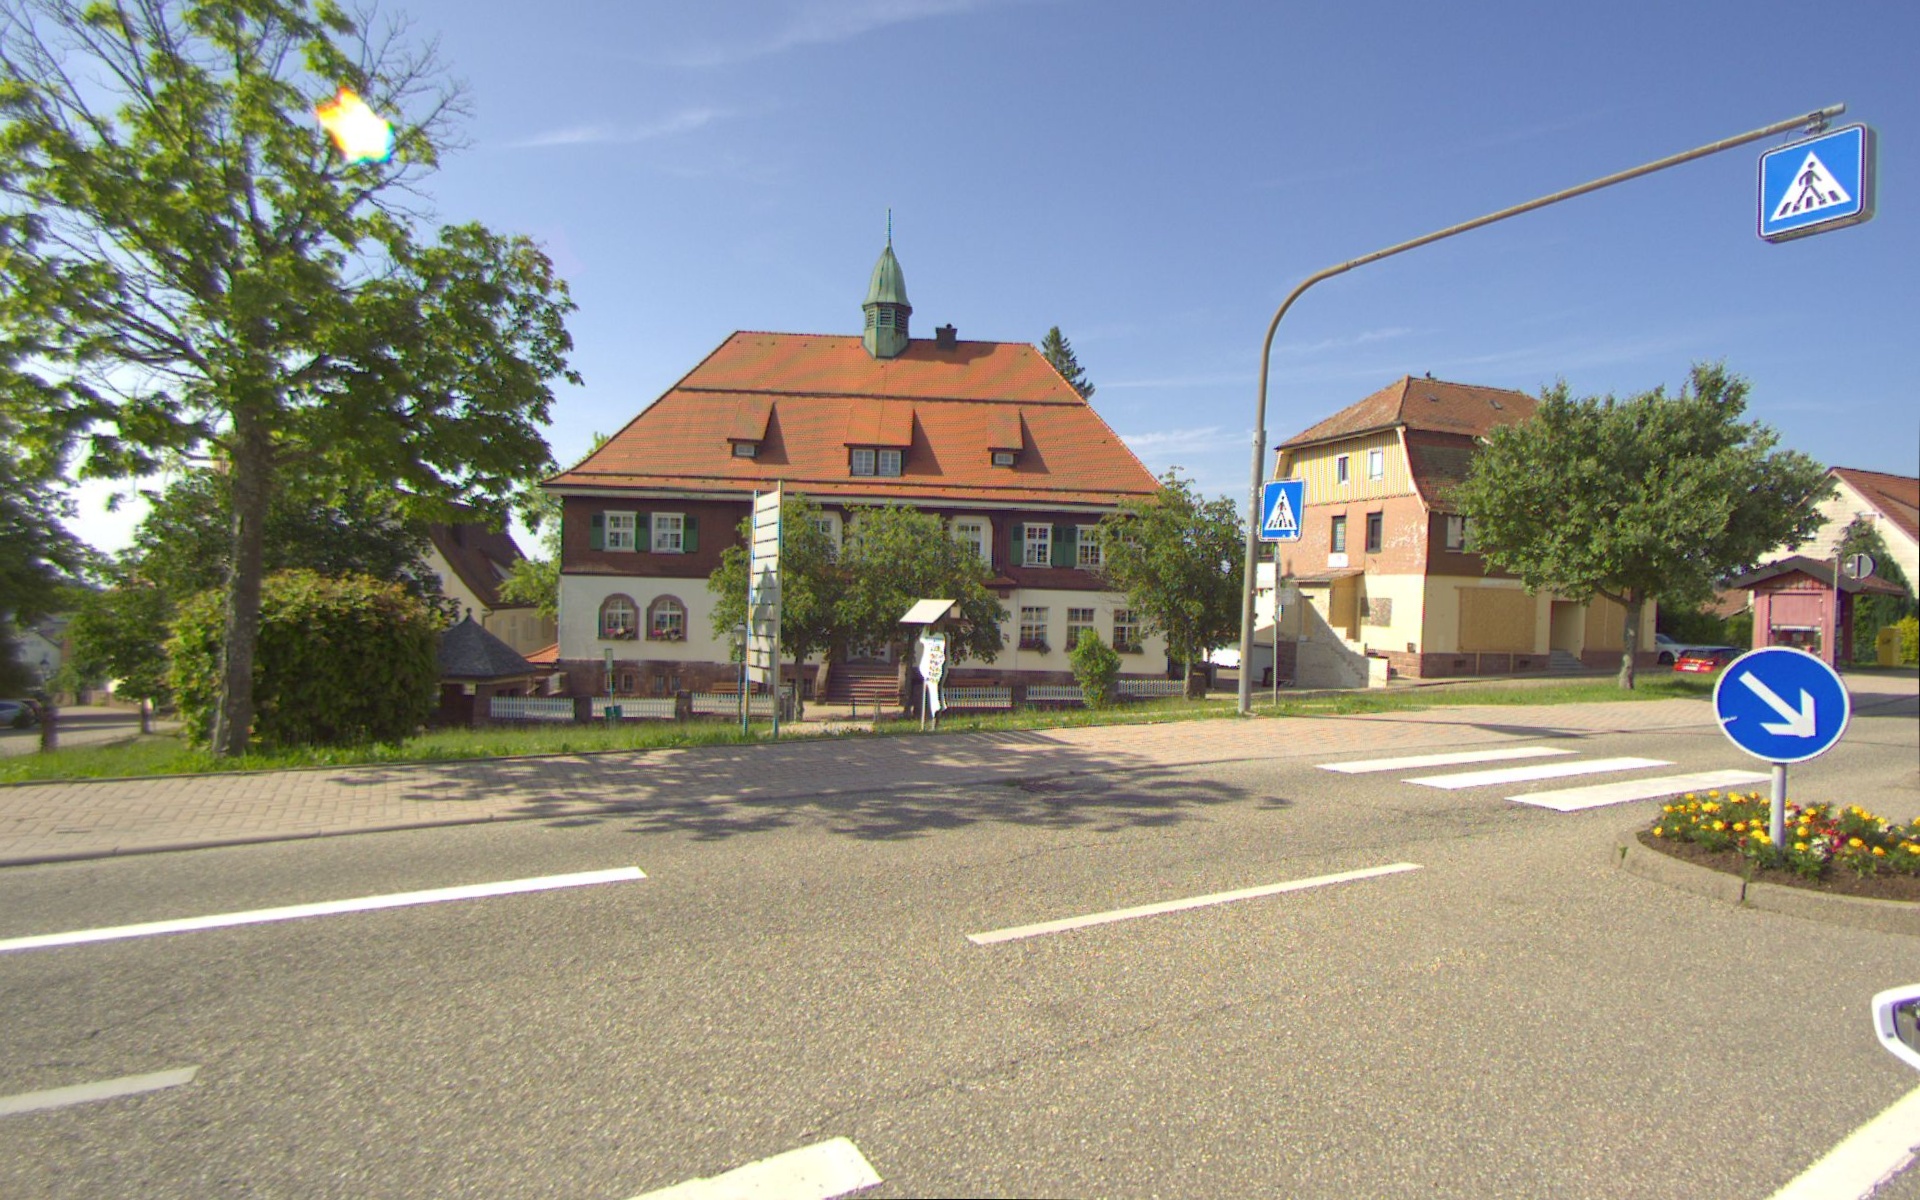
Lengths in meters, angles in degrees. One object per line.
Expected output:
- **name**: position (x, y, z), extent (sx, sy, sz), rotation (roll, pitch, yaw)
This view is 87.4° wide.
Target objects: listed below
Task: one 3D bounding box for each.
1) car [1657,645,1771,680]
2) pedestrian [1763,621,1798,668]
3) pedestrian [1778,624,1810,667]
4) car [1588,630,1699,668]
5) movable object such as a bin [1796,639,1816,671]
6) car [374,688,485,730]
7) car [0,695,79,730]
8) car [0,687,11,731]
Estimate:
- **car**: position (29.816, 2.457, 39.735), extent (3.938, 1.314, 1.719), rotation (1, -2, -19)
- **pedestrian**: position (24.365, 1.312, 29.833), extent (0.667, 1.382, 0.613), rotation (0, -1, -35)
- **pedestrian**: position (24.926, 1.364, 30.034), extent (0.419, 1.269, 0.625), rotation (1, -2, -36)
- **car**: position (34.155, 2.424, 50.332), extent (1.775, 1.531, 4.291), rotation (3, 0, -23)
- **movable object such as a bin**: position (23.101, 1.503, 27.426), extent (0.481, 0.848, 0.302), rotation (2, -2, -36)
- **car**: position (-20.470, 4.193, 38.847), extent (3.435, 1.486, 1.577), rotation (0, -2, -4)
- **car**: position (-49.781, 5.966, 53.379), extent (3.941, 1.684, 1.991), rotation (1, -3, -22)
- **car**: position (-46.720, 5.085, 46.188), extent (3.941, 2.040, 1.991), rotation (1, -3, -22)
